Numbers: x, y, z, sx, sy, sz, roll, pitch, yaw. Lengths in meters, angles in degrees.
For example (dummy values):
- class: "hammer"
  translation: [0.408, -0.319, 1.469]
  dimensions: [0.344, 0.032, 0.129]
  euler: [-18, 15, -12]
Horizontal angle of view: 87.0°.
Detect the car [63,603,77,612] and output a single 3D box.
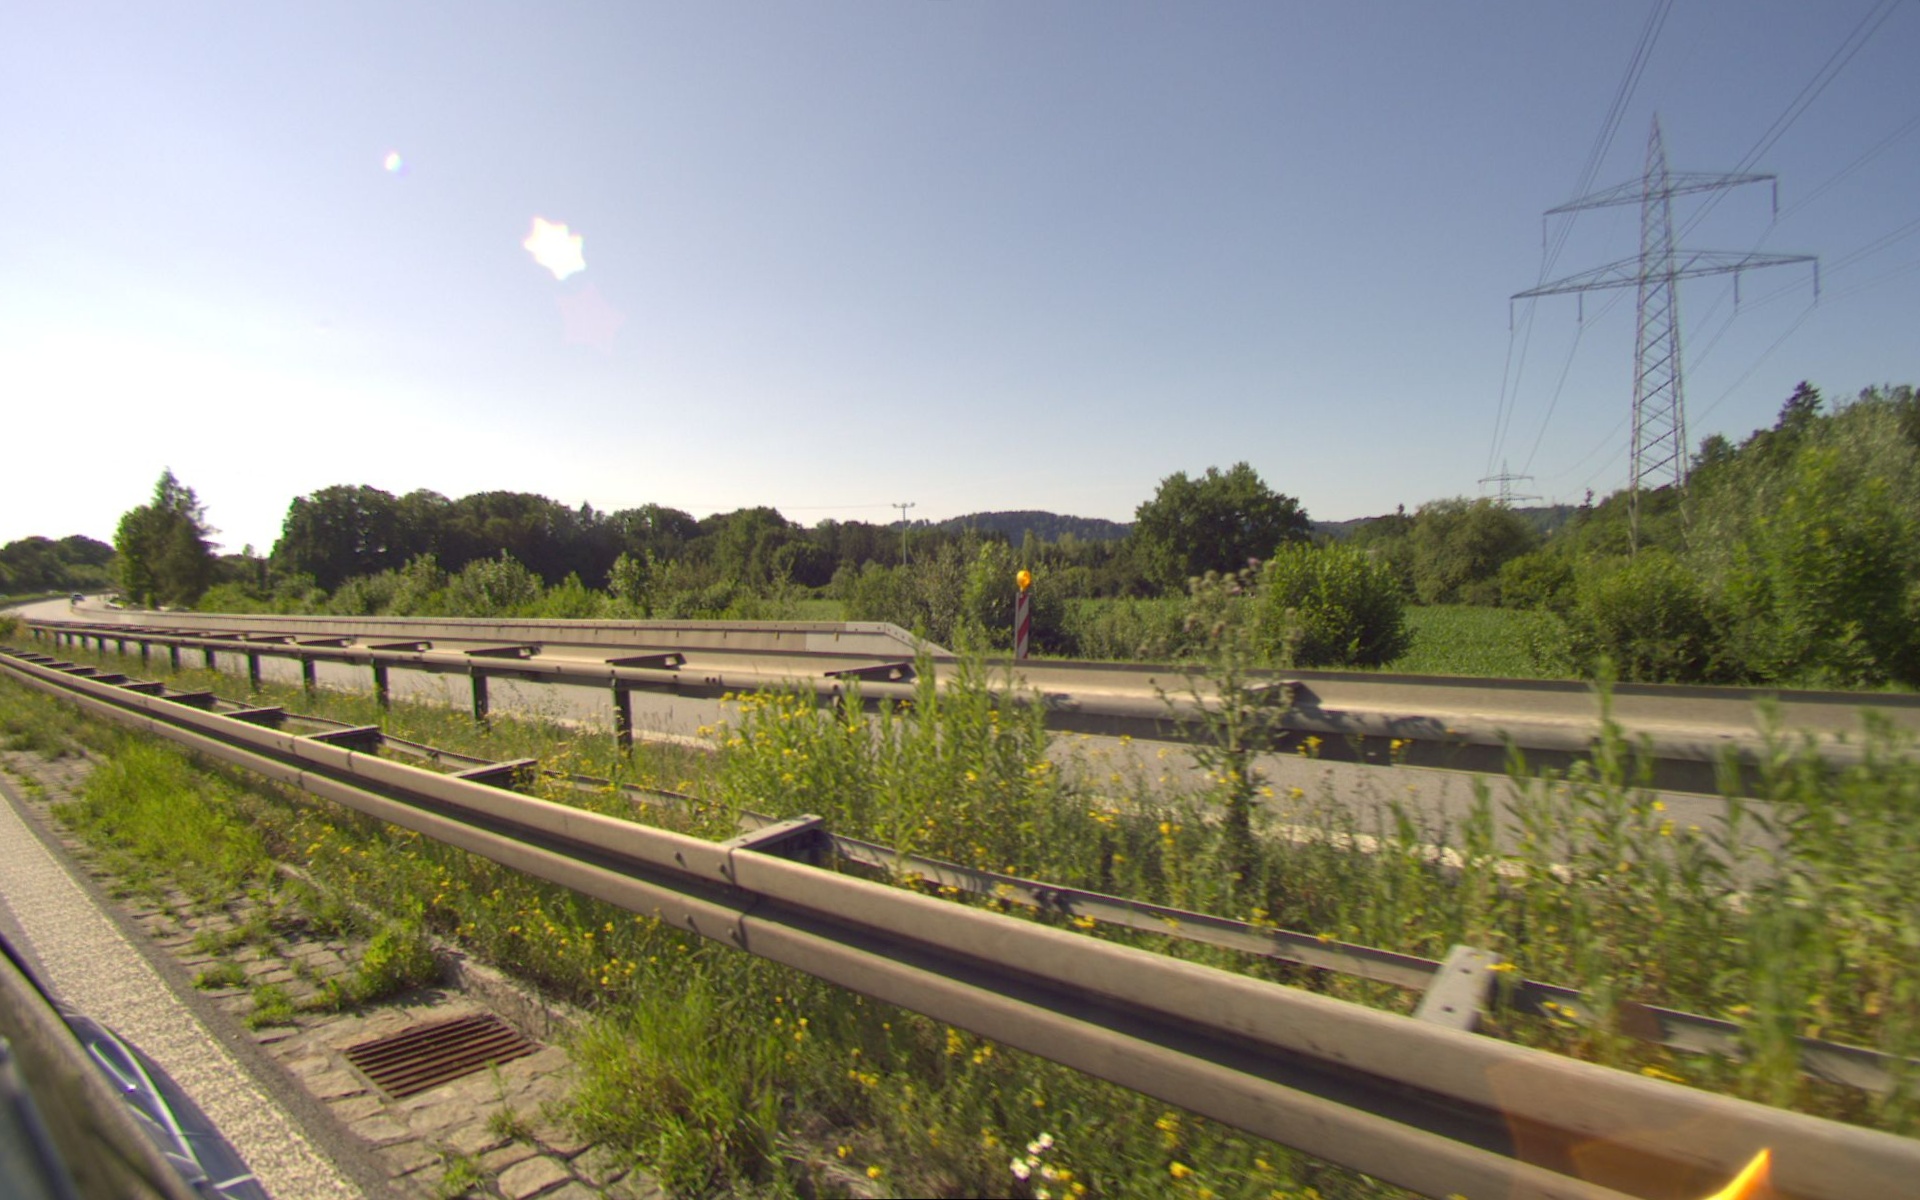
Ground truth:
- class: "car"
  translation: [-168.296, 1.430, 191.397]
  dimensions: [1.737, 1.523, 4.543]
  euler: [-1, 1, -39]
